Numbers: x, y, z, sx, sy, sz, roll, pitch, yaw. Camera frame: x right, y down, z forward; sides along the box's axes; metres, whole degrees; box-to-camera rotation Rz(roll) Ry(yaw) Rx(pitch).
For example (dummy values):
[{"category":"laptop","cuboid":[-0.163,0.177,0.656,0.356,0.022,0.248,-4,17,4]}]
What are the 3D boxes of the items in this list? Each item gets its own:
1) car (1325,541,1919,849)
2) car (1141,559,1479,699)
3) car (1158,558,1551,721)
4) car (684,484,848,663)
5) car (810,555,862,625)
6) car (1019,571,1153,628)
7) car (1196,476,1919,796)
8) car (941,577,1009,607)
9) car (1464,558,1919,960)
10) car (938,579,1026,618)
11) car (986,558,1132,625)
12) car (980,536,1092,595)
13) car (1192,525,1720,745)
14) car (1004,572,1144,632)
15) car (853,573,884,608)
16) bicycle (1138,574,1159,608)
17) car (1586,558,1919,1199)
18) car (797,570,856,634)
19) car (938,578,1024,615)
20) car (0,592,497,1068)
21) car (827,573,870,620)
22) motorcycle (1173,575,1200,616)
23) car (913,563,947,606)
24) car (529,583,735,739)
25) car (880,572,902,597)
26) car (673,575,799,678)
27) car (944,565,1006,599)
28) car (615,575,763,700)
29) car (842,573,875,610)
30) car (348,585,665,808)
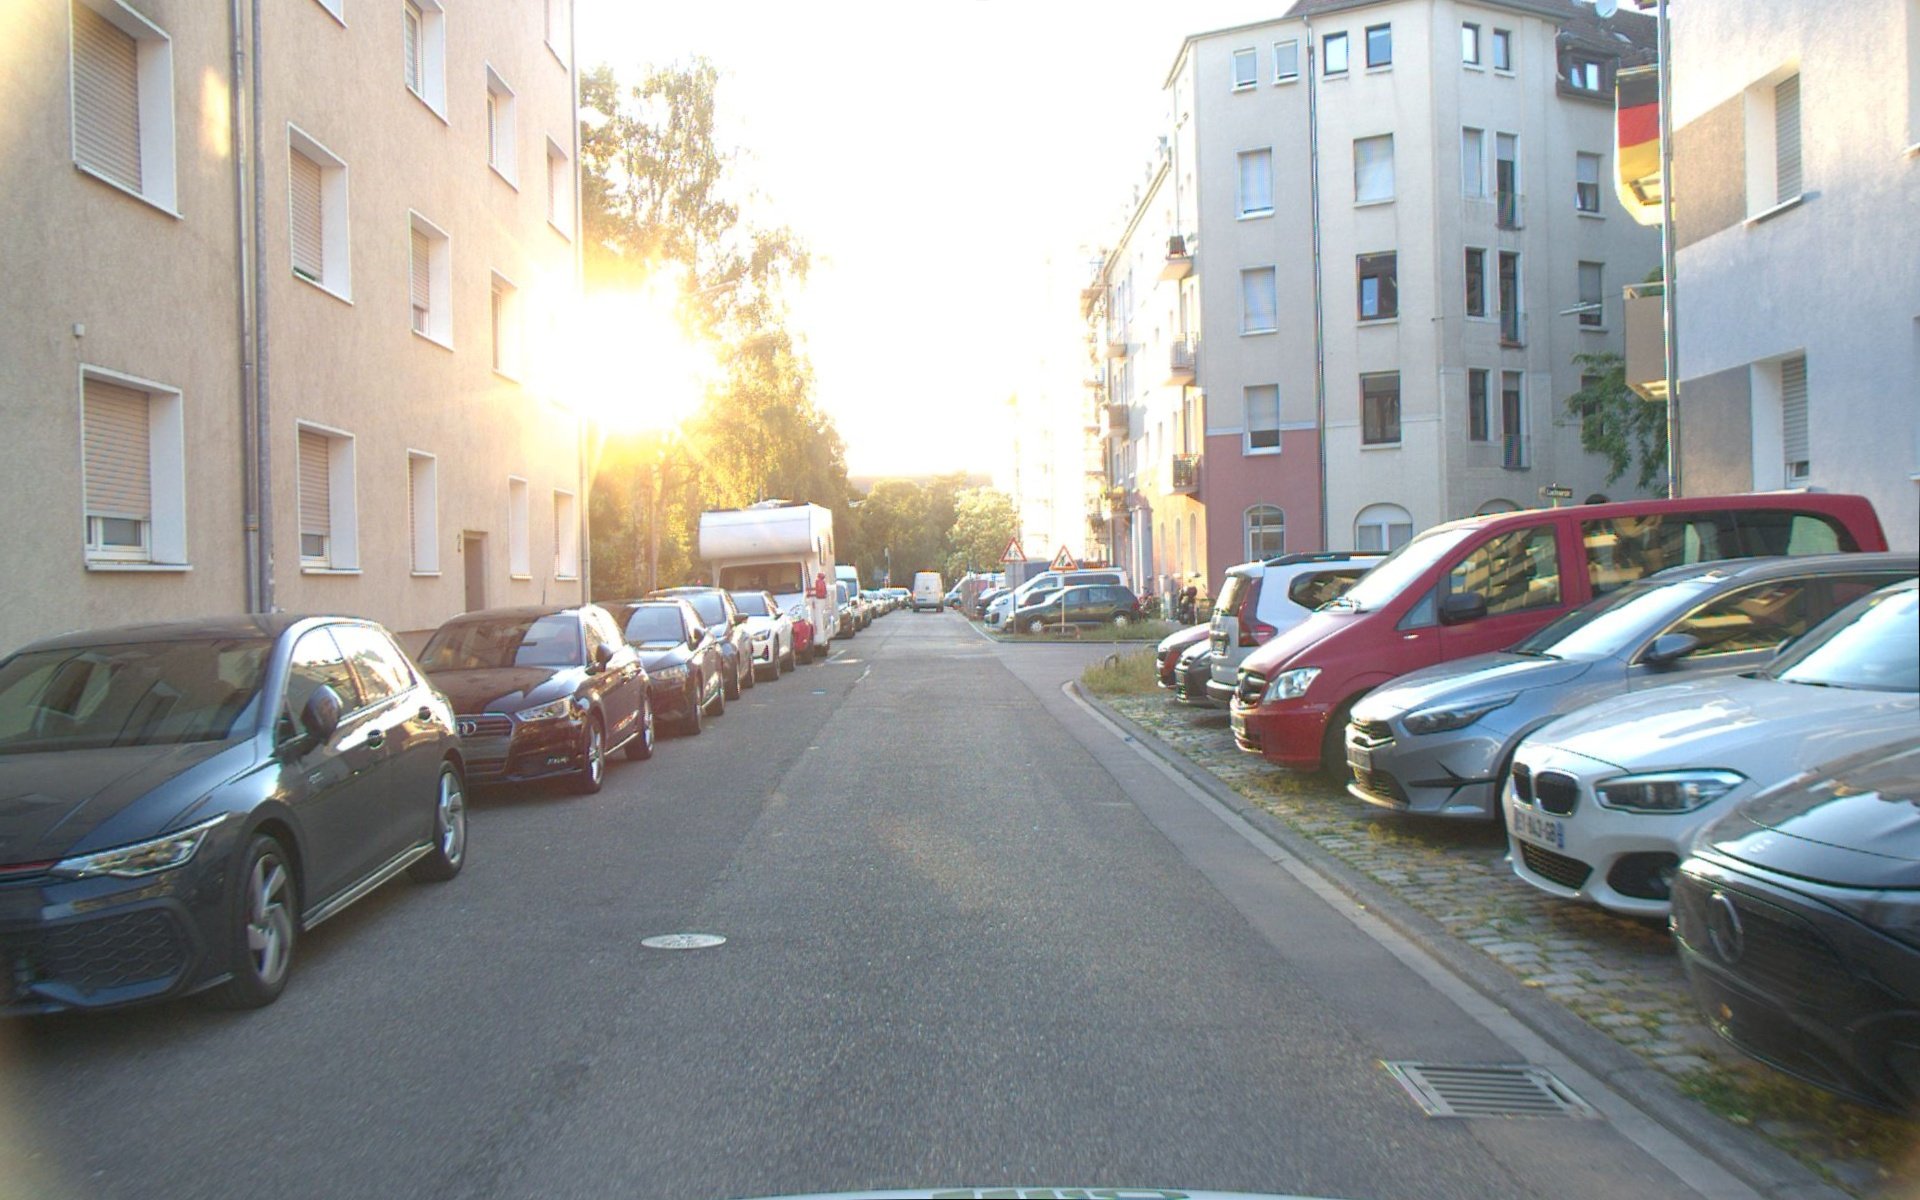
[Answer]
[{"category":"car","cuboid":[4.405,0.471,9.770,4.062,1.496,1.636,-3,0,-2]},{"category":"car","cuboid":[4.234,0.335,20.348,3.735,1.453,1.634,-3,0,-2]},{"category":"car","cuboid":[4.130,0.390,17.675,3.735,1.453,1.634,-3,0,-2]},{"category":"car","cuboid":[-4.010,-0.569,35.759,2.567,3.325,7.696,-3,1,-1]},{"category":"car","cuboid":[-4.721,-0.396,63.416,1.734,2.487,5.143,-3,1,-3]},{"category":"car","cuboid":[3.860,-0.025,51.040,3.907,1.556,1.658,-3,1,-2]},{"category":"car","cuboid":[4.286,0.228,12.376,4.627,1.942,2.058,-3,0,-2]},{"category":"car","cuboid":[0.865,-0.499,97.680,3.907,1.556,1.658,-3,1,-2]},{"category":"car","cuboid":[4.378,0.539,7.213,3.798,1.440,1.635,-3,0,-3]},{"category":"car","cuboid":[0.978,-0.057,75.112,3.907,1.556,1.658,-3,1,-2]},{"category":"car","cuboid":[3.303,-0.301,55.682,4.716,2.002,1.738,-3,1,-2]},{"category":"car","cuboid":[2.818,-1.290,61.960,3.909,2.049,1.998,-2,1,-5]},{"category":"car","cuboid":[4.427,0.290,15.201,4.237,1.666,1.817,-3,0,-2]},{"category":"car","cuboid":[3.331,0.047,48.709,3.907,1.556,1.658,-3,1,-2]},{"category":"car","cuboid":[-5.132,-0.557,92.852,1.620,1.862,3.874,-3,1,-3]},{"category":"bicycle","cuboid":[7.133,-0.337,62.751,0.507,1.249,1.981,-1,1,-1]},{"category":"car","cuboid":[4.233,0.548,4.717,4.221,1.475,1.655,-3,0,-1]},{"category":"car","cuboid":[-4.186,0.036,52.324,1.620,1.862,3.874,-3,1,-3]},{"category":"car","cuboid":[0.952,-0.174,77.036,3.907,1.556,1.658,-3,1,-2]},{"category":"car","cuboid":[-3.380,0.755,7.306,1.626,1.459,4.029,-3,1,-3]},{"category":"car","cuboid":[-4.675,-0.175,69.483,1.620,1.862,3.874,-3,1,-3]},{"category":"motorcycle","cuboid":[7.149,-0.144,52.215,0.507,1.249,1.981,-1,1,-1]},{"category":"car","cuboid":[-2.053,-1.065,112.878,2.086,2.764,4.831,-3,1,-3]},{"category":"car","cuboid":[-3.537,0.586,18.465,1.620,1.459,3.874,-3,1,-3]},{"category":"car","cuboid":[-5.373,-1.210,129.197,1.620,1.862,3.874,-3,1,-3]},{"category":"car","cuboid":[-3.778,0.394,28.465,1.619,1.568,3.875,-3,1,-1]},{"category":"car","cuboid":[1.180,-1.447,131.622,4.716,2.449,1.738,-3,1,-2]},{"category":"car","cuboid":[-3.877,0.476,24.242,1.620,1.592,3.874,-3,1,-3]},{"category":"car","cuboid":[-5.391,-0.463,88.077,1.620,1.862,3.874,-3,1,-3]},{"category":"car","cuboid":[-3.516,0.659,13.502,1.620,1.459,3.794,-3,1,-3]}]
